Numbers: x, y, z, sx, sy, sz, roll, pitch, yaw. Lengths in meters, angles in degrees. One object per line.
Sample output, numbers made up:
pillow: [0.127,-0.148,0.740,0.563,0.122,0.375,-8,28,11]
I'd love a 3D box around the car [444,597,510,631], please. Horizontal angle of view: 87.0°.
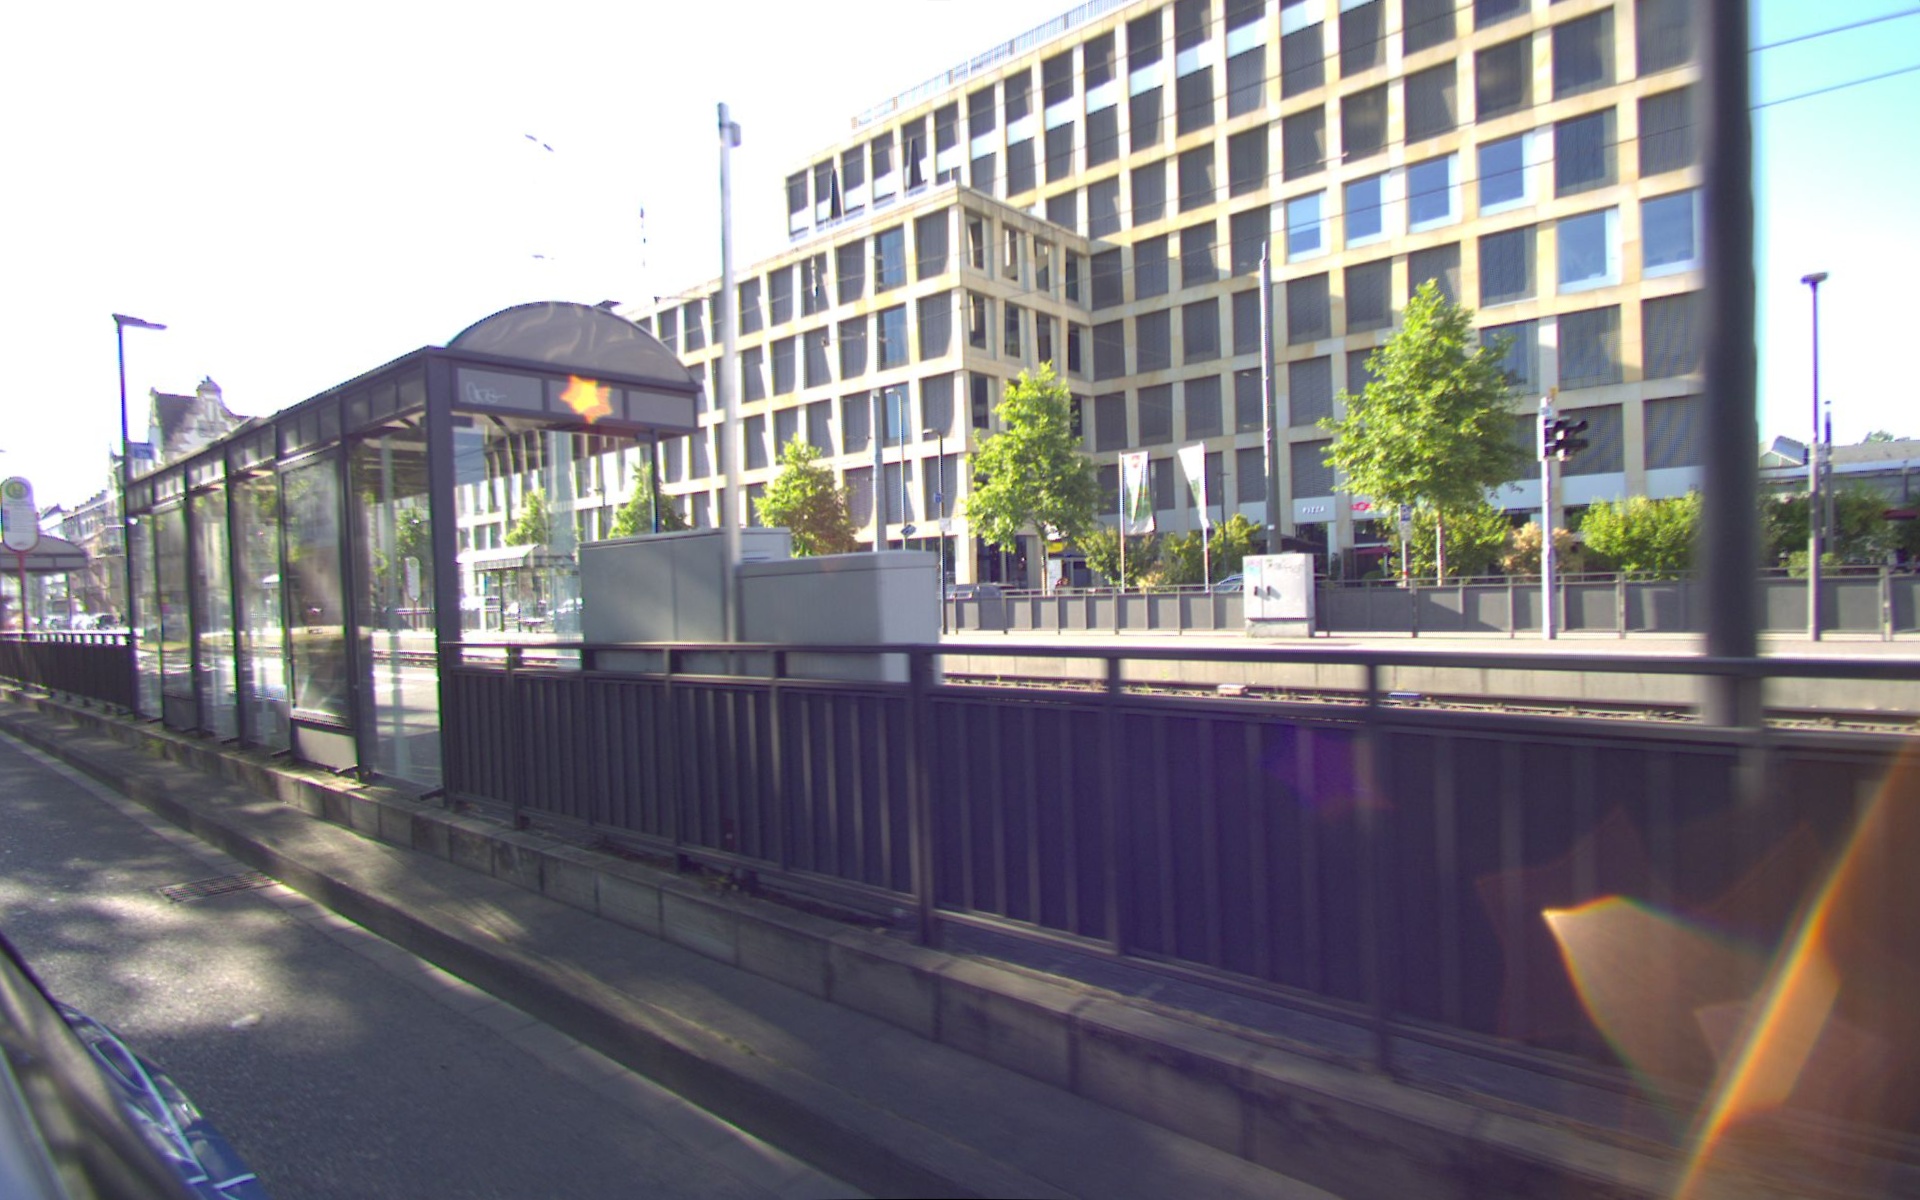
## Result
car: [-26.973,0.787,56.468,3.999,1.782,1.898,-2,1,42]

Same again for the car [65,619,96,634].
car: [-100.545,3.052,115.692,3.992,1.536,1.722,-2,2,36]

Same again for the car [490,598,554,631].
car: [-22.755,0.769,52.588,3.649,1.573,1.627,-2,1,42]

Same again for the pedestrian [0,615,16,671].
pedestrian: [-22.676,1.020,23.712,0.524,1.283,0.734,-2,1,40]

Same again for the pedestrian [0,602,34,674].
pedestrian: [-20.576,0.818,21.885,0.666,1.520,0.737,-2,0,43]

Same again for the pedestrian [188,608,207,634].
pedestrian: [-49.955,1.352,66.318,0.933,1.656,0.785,-2,1,42]

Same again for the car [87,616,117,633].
car: [-92.144,2.623,108.674,3.996,1.682,1.759,-2,1,39]
